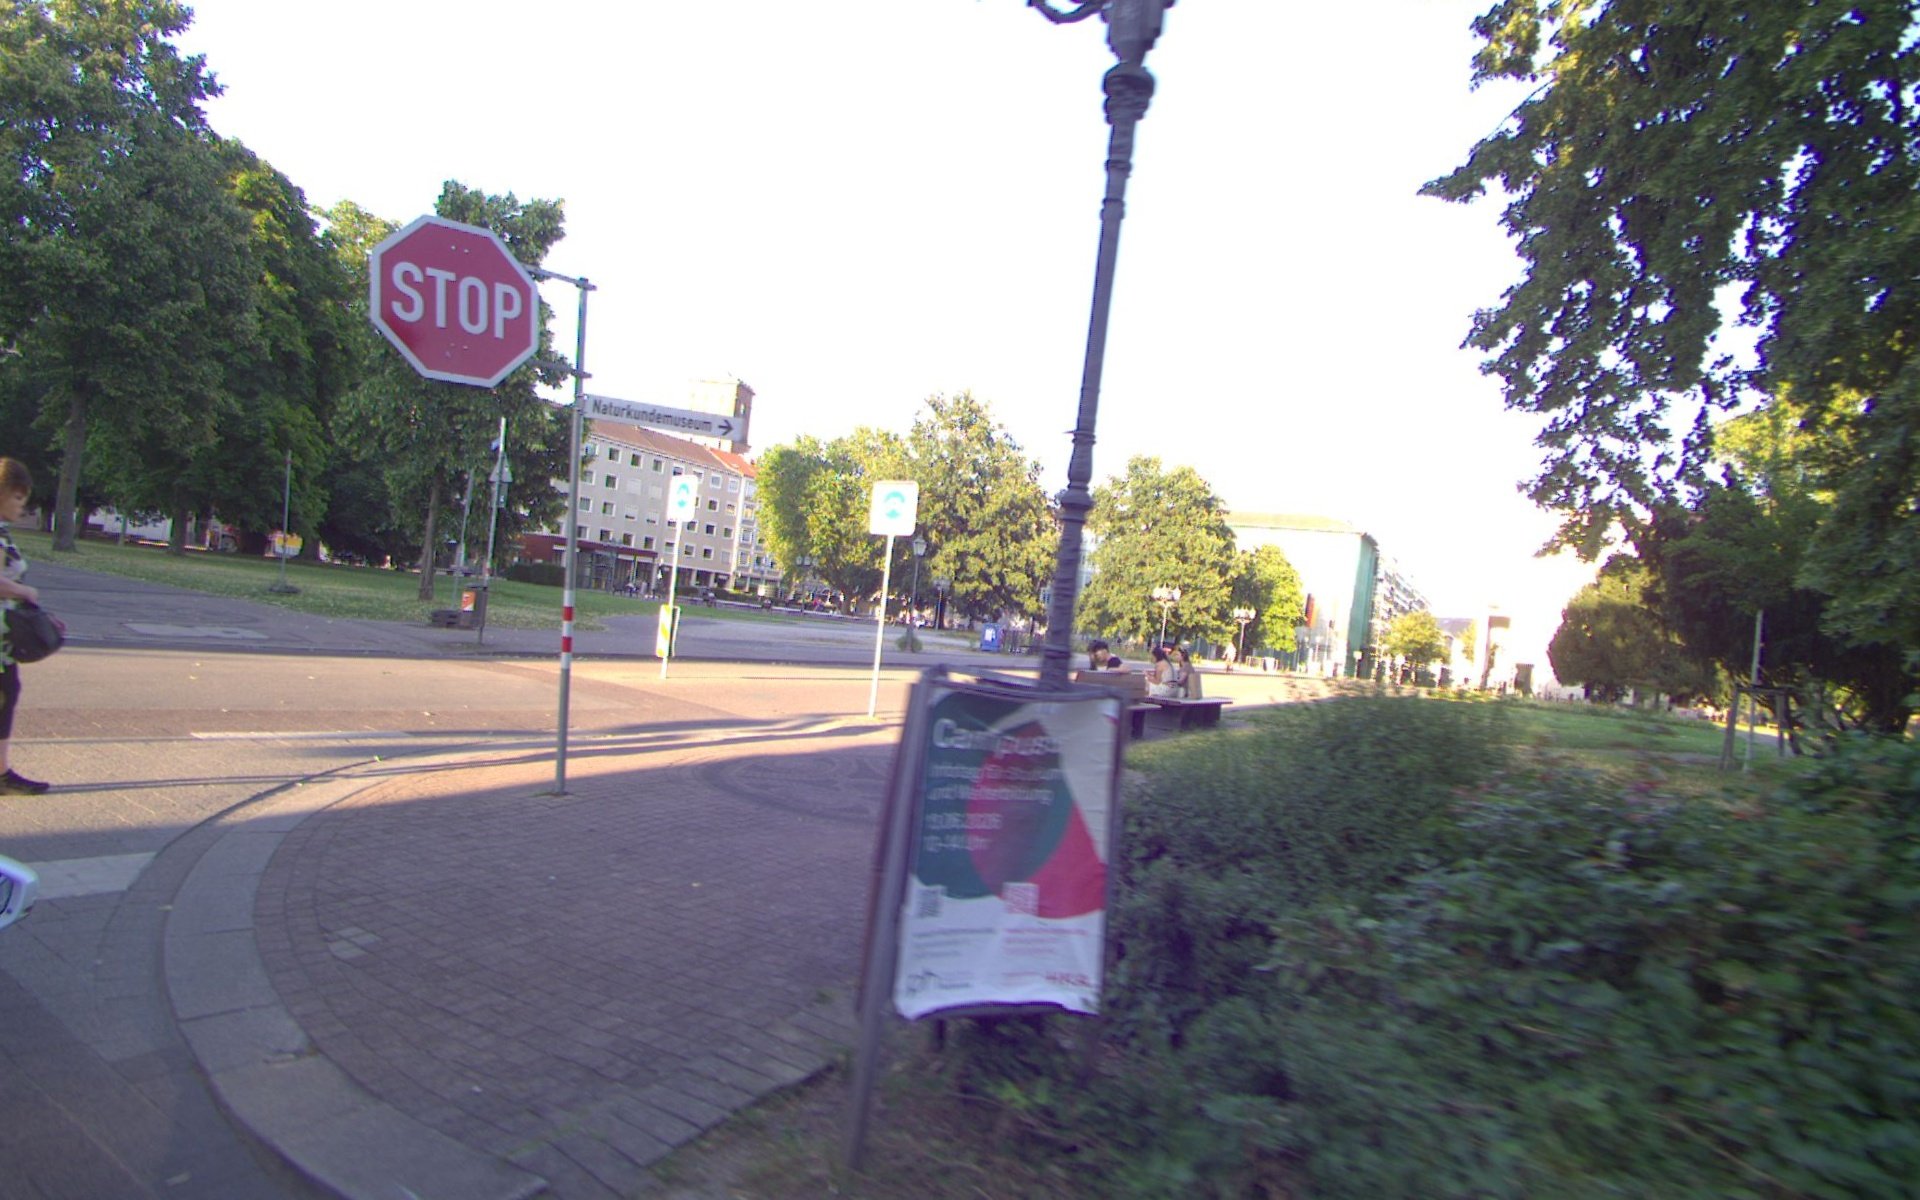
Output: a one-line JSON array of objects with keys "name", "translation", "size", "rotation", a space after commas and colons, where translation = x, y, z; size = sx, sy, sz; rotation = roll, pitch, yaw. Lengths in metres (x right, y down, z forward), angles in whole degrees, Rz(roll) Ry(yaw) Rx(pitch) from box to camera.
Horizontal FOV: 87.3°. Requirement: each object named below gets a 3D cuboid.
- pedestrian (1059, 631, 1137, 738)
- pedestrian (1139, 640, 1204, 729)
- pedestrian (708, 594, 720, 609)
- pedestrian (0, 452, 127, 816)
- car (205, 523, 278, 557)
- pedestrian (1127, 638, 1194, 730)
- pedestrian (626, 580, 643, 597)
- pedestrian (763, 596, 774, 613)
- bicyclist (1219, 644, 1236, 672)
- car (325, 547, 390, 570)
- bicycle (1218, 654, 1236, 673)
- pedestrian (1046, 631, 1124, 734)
[{"name": "pedestrian", "translation": [1.766, 1.071, 12.984], "size": [0.803, 1.253, 0.683], "rotation": [6, 0, 1]}, {"name": "pedestrian", "translation": [3.523, 1.400, 16.743], "size": [0.804, 1.358, 0.598], "rotation": [6, 0, 26]}, {"name": "pedestrian", "translation": [-16.517, 0.087, 67.541], "size": [0.609, 0.936, 0.512], "rotation": [6, 0, 6]}, {"name": "pedestrian", "translation": [-4.814, 0.139, 4.964], "size": [0.822, 1.710, 0.735], "rotation": [6, 0, 31]}, {"name": "car", "translation": [-55.889, -4.678, 78.312], "size": [1.967, 2.038, 4.036], "rotation": [6, -1, 32]}, {"name": "pedestrian", "translation": [3.224, 1.336, 16.158], "size": [0.804, 1.358, 0.598], "rotation": [6, 0, 26]}, {"name": "pedestrian", "translation": [-23.004, -0.790, 71.005], "size": [0.893, 1.091, 0.614], "rotation": [6, 0, -42]}, {"name": "pedestrian", "translation": [-12.814, 0.302, 67.372], "size": [0.610, 1.091, 0.511], "rotation": [6, 0, -8]}, {"name": "bicyclist", "translation": [14.699, 3.167, 55.231], "size": [0.630, 1.461, 0.695], "rotation": [6, 0, 25]}, {"name": "car", "translation": [-44.706, -3.071, 74.681], "size": [1.964, 1.255, 3.583], "rotation": [6, -1, 25]}, {"name": "bicycle", "translation": [14.647, 3.477, 55.192], "size": [0.630, 0.953, 1.463], "rotation": [6, 0, 25]}, {"name": "pedestrian", "translation": [1.678, 1.100, 13.639], "size": [0.857, 1.277, 0.598], "rotation": [6, 0, 0]}]
